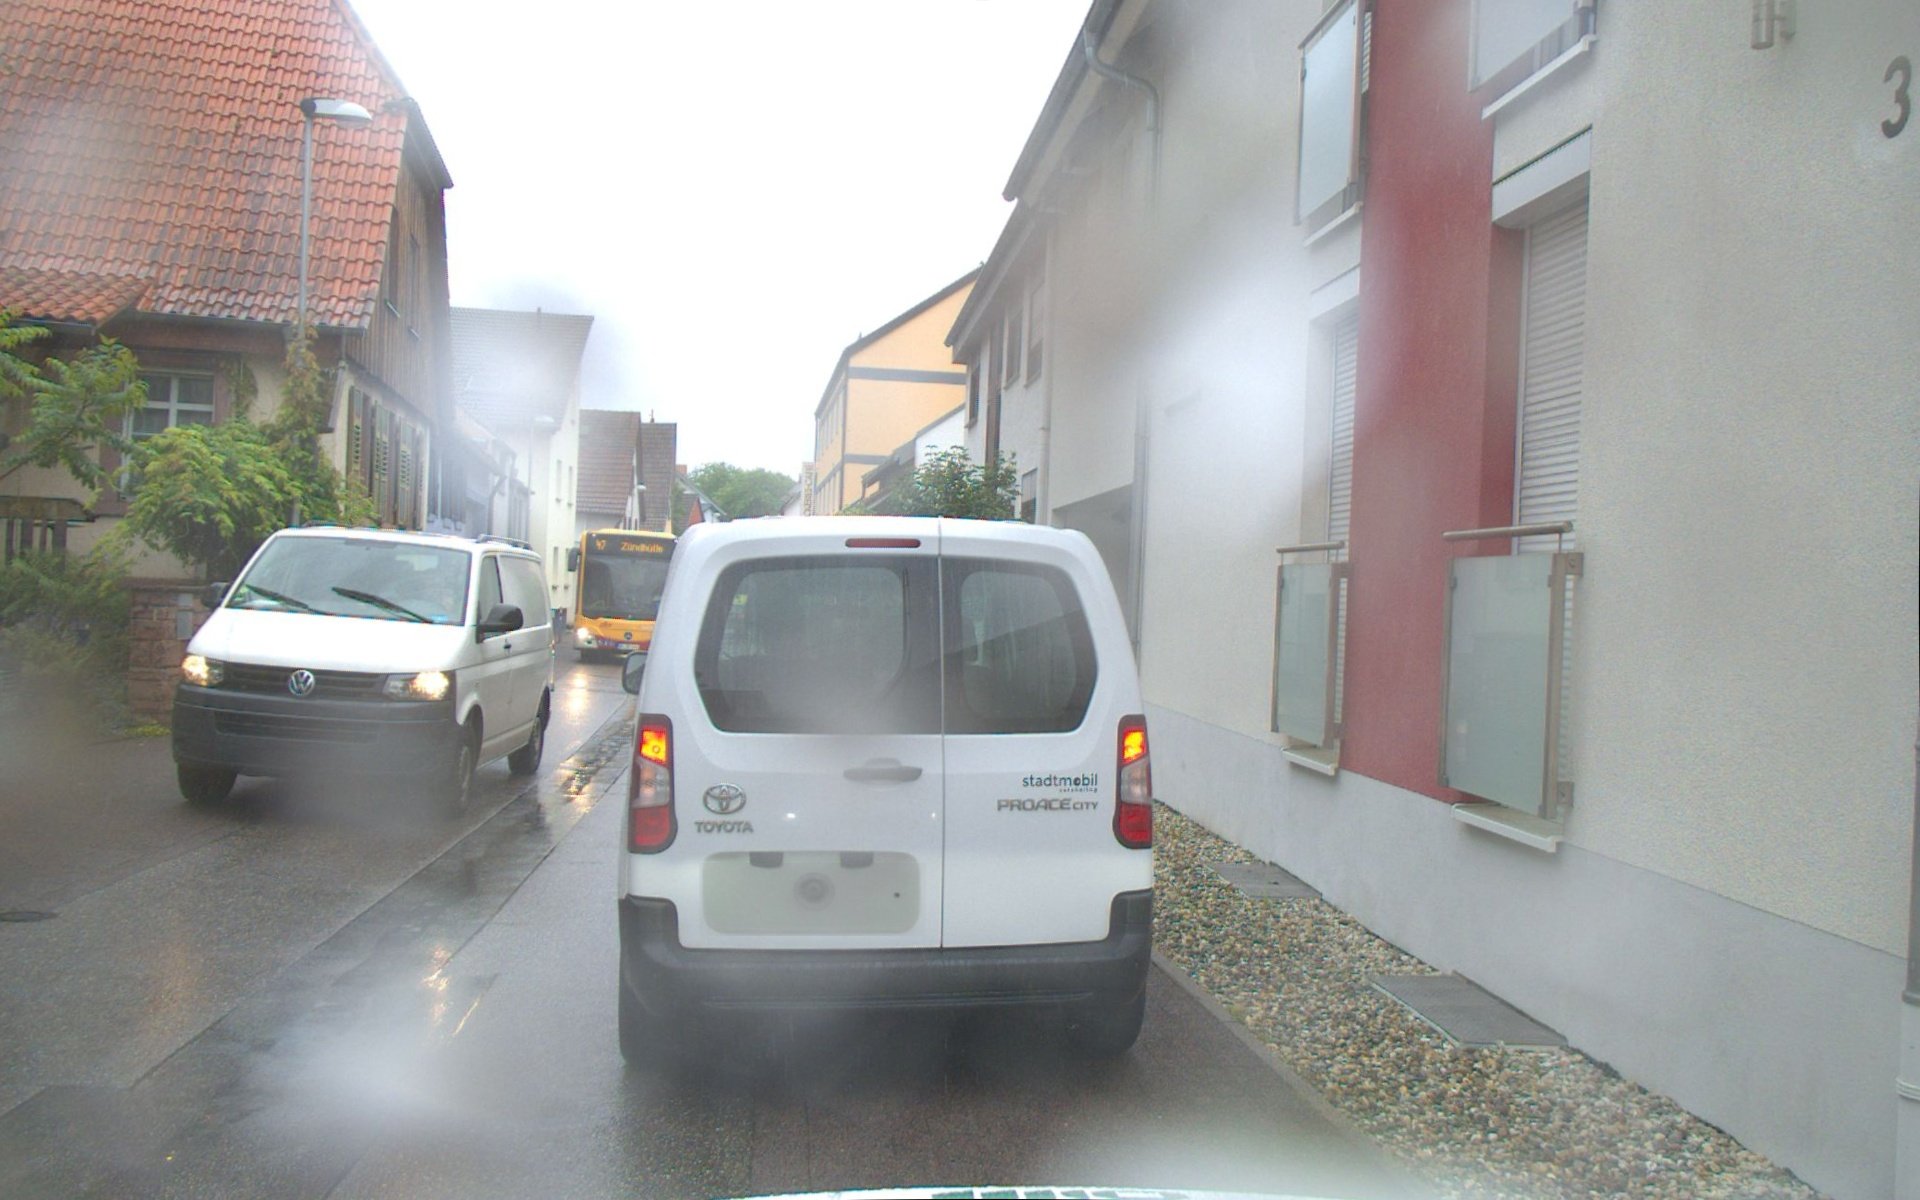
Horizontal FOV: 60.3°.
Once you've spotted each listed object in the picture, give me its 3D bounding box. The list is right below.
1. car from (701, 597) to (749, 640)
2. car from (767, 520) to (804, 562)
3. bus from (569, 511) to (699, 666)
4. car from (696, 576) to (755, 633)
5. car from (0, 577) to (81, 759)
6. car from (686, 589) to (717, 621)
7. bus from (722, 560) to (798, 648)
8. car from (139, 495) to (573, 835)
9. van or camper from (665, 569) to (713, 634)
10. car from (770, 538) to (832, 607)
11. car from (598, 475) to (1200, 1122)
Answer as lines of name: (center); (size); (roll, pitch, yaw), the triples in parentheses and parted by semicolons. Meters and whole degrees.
car: (-8.399, 0.664, 59.235); (1.532, 1.395, 3.579); (4, -1, -7)
car: (-9.793, -3.262, 92.872); (1.955, 2.049, 3.994); (3, -1, -6)
bus: (-8.140, -0.230, 41.654); (2.743, 3.387, 8.157); (3, -1, -10)
car: (-6.788, 0.148, 48.192); (1.532, 1.506, 3.579); (4, -1, -7)
car: (-9.178, 0.462, 13.132); (3.459, 1.400, 1.593); (2, 0, -5)
car: (-15.227, 0.303, 97.613); (1.549, 1.754, 3.546); (3, -1, -6)
bus: (-8.333, 0.211, 68.776); (2.741, 3.235, 8.164); (4, -1, -7)
car: (-4.286, 0.441, 12.623); (1.856, 2.001, 4.717); (3, -1, -5)
van or camper: (-13.189, 0.102, 80.665); (1.800, 2.976, 5.356); (3, -1, -6)
car: (-5.245, -0.863, 54.215); (1.793, 2.049, 3.687); (4, -1, -7)
car: (-0.416, 0.596, 6.900); (1.761, 1.850, 4.094); (1, -1, -7)
